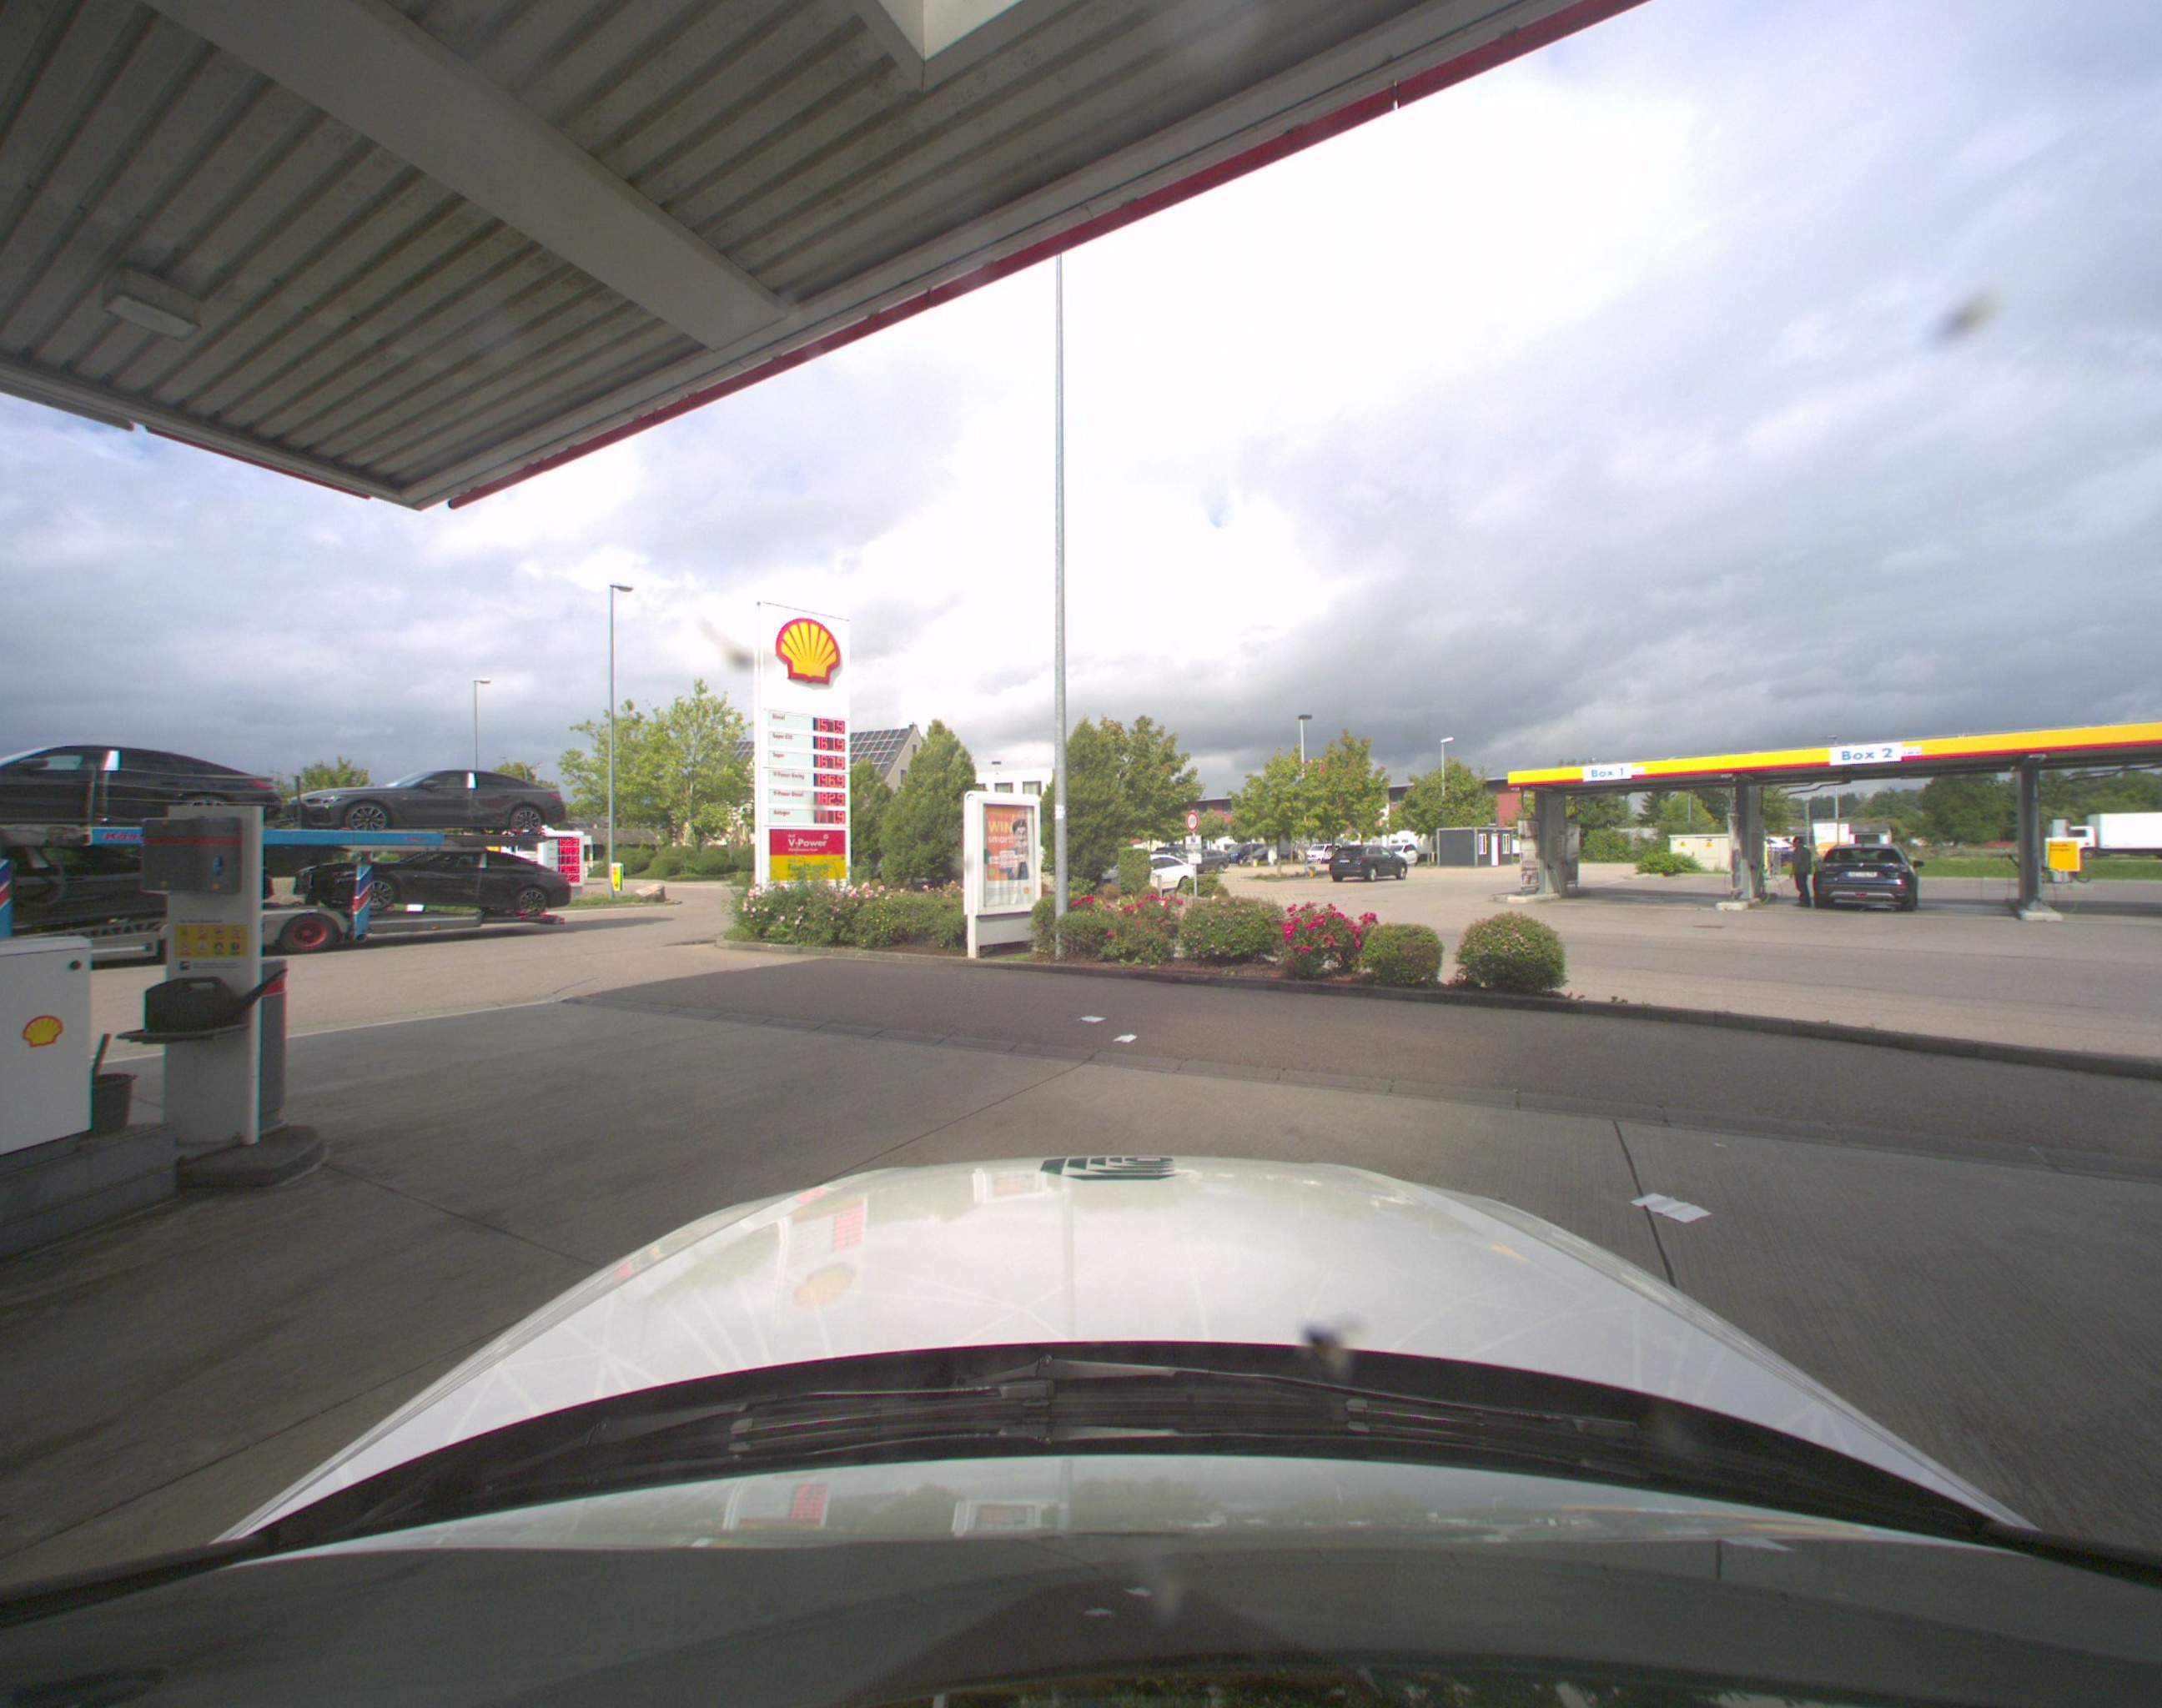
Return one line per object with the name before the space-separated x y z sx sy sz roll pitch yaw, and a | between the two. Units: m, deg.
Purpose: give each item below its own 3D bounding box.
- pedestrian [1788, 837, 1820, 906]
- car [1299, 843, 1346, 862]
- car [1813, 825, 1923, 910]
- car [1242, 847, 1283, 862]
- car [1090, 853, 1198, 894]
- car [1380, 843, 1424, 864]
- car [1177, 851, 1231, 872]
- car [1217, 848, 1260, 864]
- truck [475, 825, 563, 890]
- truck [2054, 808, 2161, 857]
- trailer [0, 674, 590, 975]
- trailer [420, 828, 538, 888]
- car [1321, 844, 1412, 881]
pedestrian | 18.289 0.436 20.620 0.551 1.722 0.531 -1 -1 38
car | 23.848 -0.127 80.245 4.903 1.833 2.159 0 -1 -41
car | 19.424 0.312 20.051 3.828 1.897 1.703 0 -1 -43
car | 14.470 0.030 64.851 3.437 1.179 1.468 0 -1 -42
car | 2.377 0.679 29.994 4.368 1.404 1.354 0 -1 -42
car | 20.587 -0.051 52.192 3.120 1.307 1.352 0 -1 -42
car | 7.520 0.444 49.679 3.245 1.228 1.488 0 -1 -42
car | 12.927 0.177 66.634 3.407 1.320 1.726 0 -1 -42
truck | -35.495 0.245 51.369 5.842 3.846 2.759 -1 -1 36
truck | 78.209 -1.559 59.995 7.989 3.534 2.714 -1 -1 41
trailer | -16.448 -0.418 13.654 2.711 4.423 14.450 -1 -1 31
trailer | -41.129 0.320 55.401 12.548 3.776 2.757 -1 -1 36
car | 12.858 0.370 36.555 4.527 1.548 1.864 0 -1 -41
